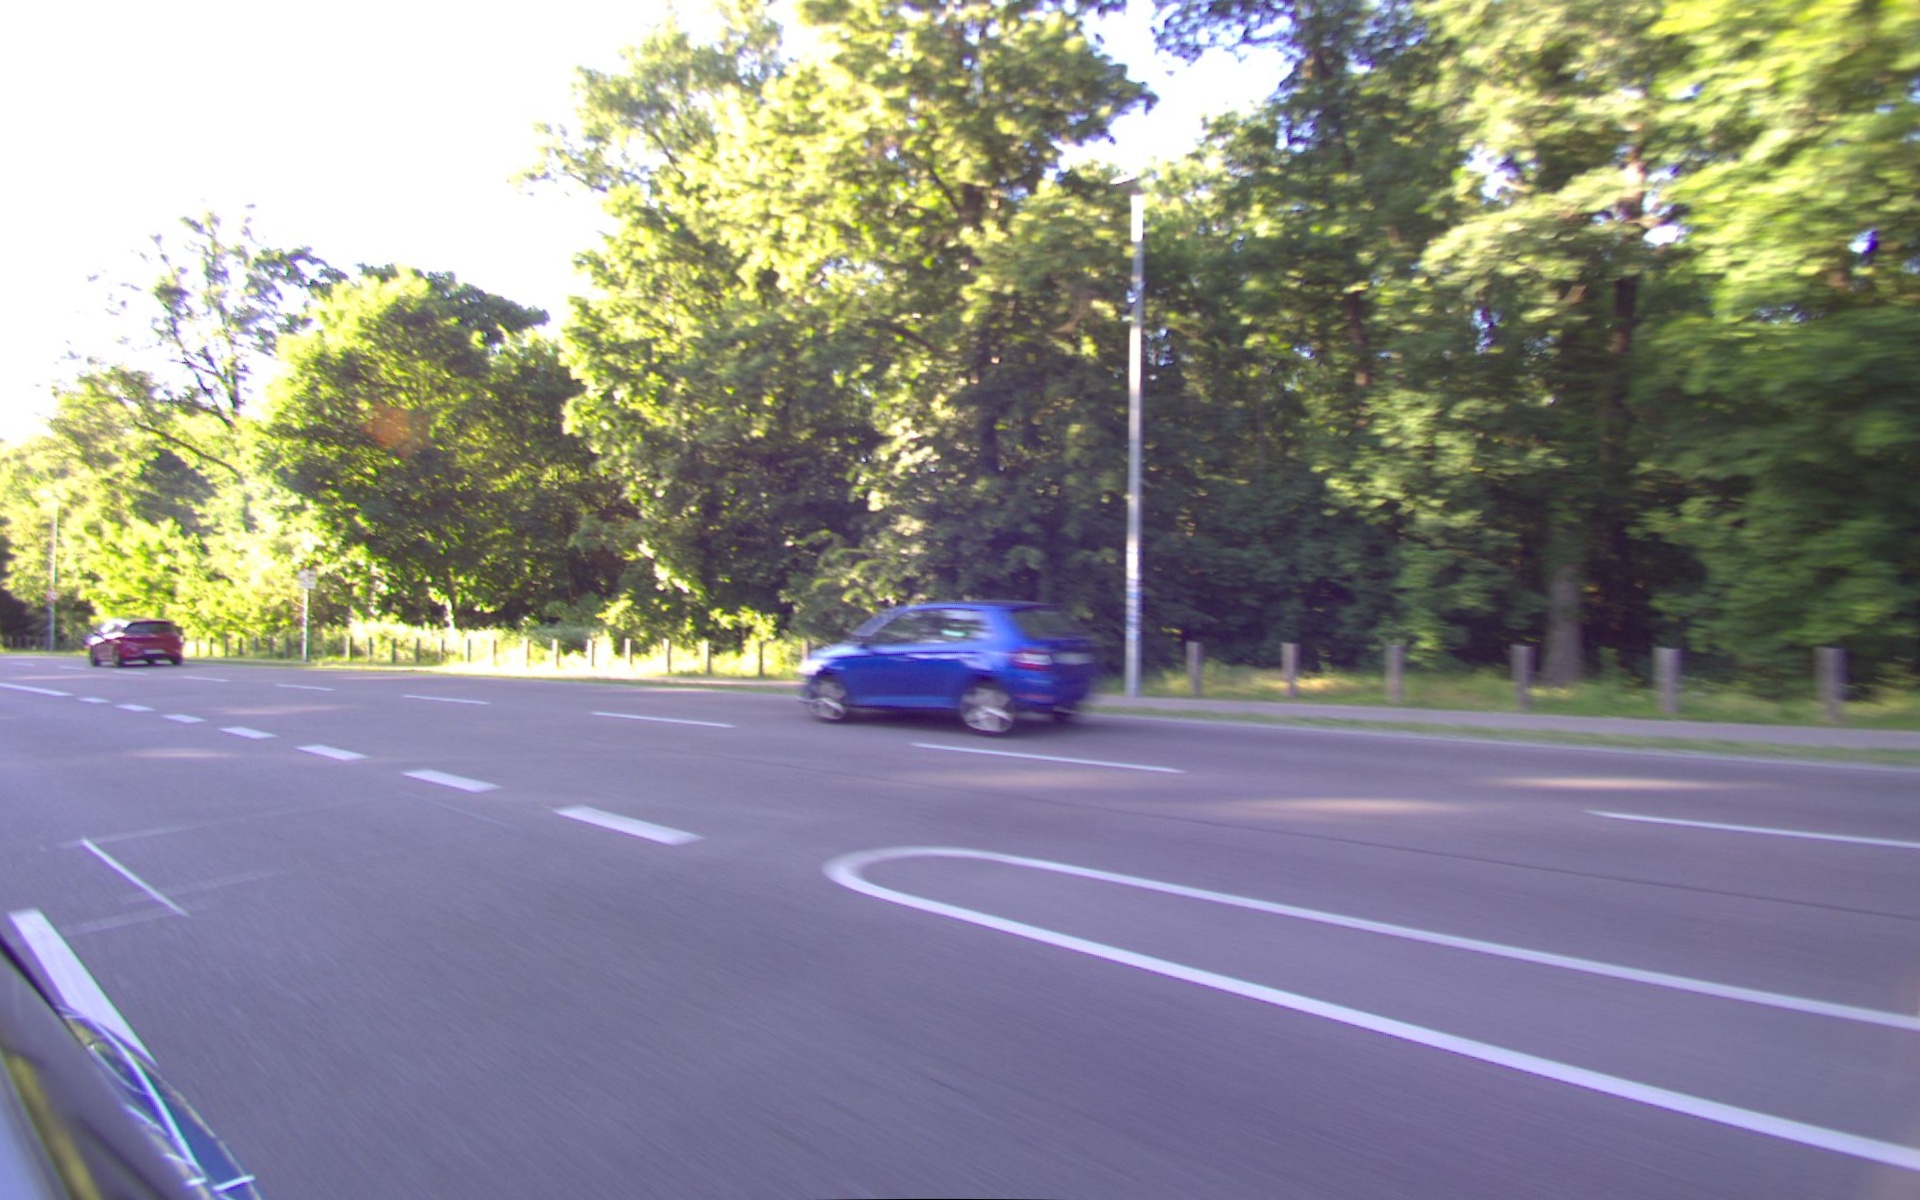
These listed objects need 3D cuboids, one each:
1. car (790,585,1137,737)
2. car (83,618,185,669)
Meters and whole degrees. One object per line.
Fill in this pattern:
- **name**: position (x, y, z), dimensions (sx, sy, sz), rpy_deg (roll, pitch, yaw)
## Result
- **car**: position (-0.071, 0.665, 12.014), dimensions (3.996, 1.519, 1.639), rpy_deg (-2, -2, 40)
- **car**: position (-26.215, 1.356, 32.096), dimensions (3.800, 1.529, 1.648), rpy_deg (-2, -2, 37)
